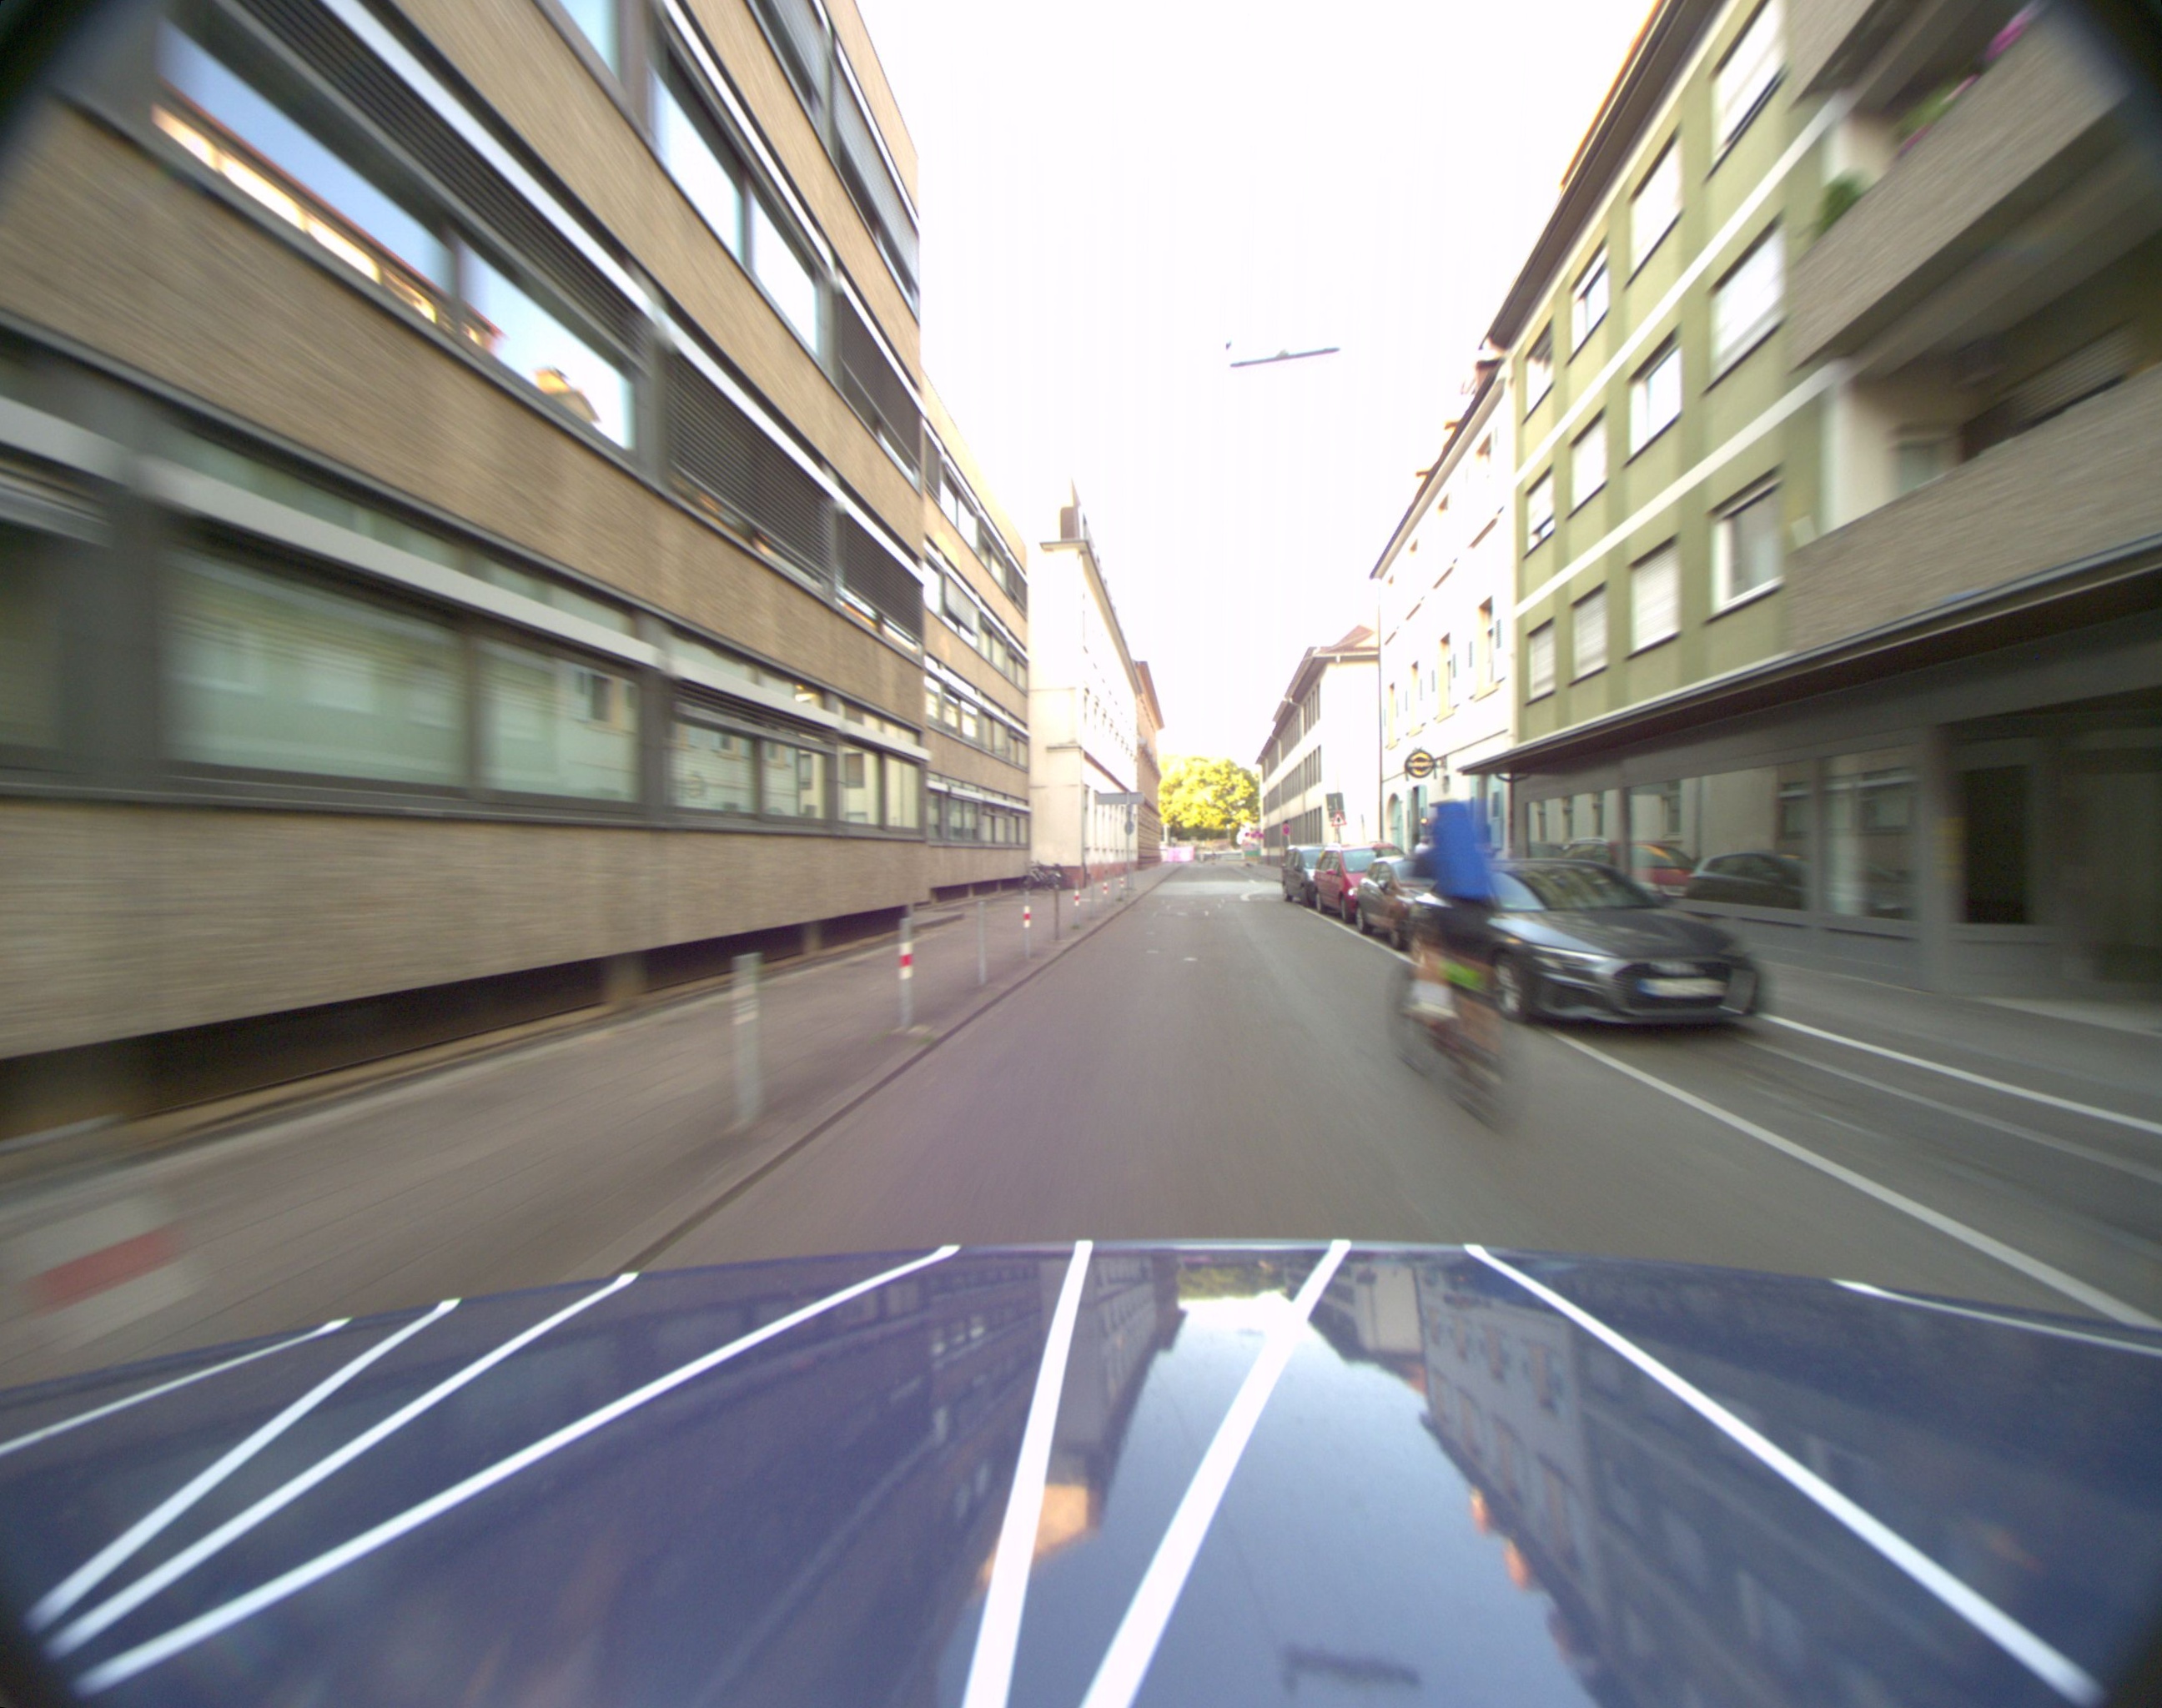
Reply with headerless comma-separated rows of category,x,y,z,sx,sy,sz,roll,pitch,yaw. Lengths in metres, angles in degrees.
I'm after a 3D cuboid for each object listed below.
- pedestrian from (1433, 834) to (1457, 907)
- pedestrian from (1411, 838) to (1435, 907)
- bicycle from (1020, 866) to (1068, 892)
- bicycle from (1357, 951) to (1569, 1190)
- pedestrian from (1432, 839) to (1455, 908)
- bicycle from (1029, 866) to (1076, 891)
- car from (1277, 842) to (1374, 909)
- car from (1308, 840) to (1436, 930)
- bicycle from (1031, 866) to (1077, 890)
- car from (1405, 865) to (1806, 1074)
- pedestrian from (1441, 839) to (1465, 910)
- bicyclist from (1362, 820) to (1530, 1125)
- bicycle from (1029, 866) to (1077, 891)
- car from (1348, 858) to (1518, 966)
pedestrian,8.883,0.399,18.555,0.407,1.740,0.470,-1,1,10
pedestrian,8.747,0.463,19.427,0.450,1.740,0.470,-1,1,10
bicycle,-1.393,0.948,28.626,1.743,0.917,0.538,-1,1,2
bicycle,2.189,1.170,4.609,0.635,0.916,1.780,-1,1,9
pedestrian,9.329,0.501,19.583,0.407,1.740,0.470,-1,1,10
bicycle,-1.129,0.978,30.177,1.799,0.917,0.517,-1,1,1
car,7.223,0.571,22.882,1.881,1.800,4.452,-1,0,6
car,6.619,0.625,17.779,1.776,1.800,4.513,-1,0,8
bicycle,-1.096,0.973,30.749,1.799,0.917,0.396,-1,1,5
car,4.659,0.879,7.536,1.627,1.408,3.982,-2,1,8
pedestrian,9.300,0.508,19.014,0.407,1.740,0.470,-1,1,10
bicyclist,2.163,0.633,4.632,0.624,1.630,1.082,-1,1,9
bicycle,-1.085,0.935,29.403,1.799,0.917,0.538,-1,1,1
car,5.738,0.841,12.886,1.627,1.476,3.880,0,1,9
